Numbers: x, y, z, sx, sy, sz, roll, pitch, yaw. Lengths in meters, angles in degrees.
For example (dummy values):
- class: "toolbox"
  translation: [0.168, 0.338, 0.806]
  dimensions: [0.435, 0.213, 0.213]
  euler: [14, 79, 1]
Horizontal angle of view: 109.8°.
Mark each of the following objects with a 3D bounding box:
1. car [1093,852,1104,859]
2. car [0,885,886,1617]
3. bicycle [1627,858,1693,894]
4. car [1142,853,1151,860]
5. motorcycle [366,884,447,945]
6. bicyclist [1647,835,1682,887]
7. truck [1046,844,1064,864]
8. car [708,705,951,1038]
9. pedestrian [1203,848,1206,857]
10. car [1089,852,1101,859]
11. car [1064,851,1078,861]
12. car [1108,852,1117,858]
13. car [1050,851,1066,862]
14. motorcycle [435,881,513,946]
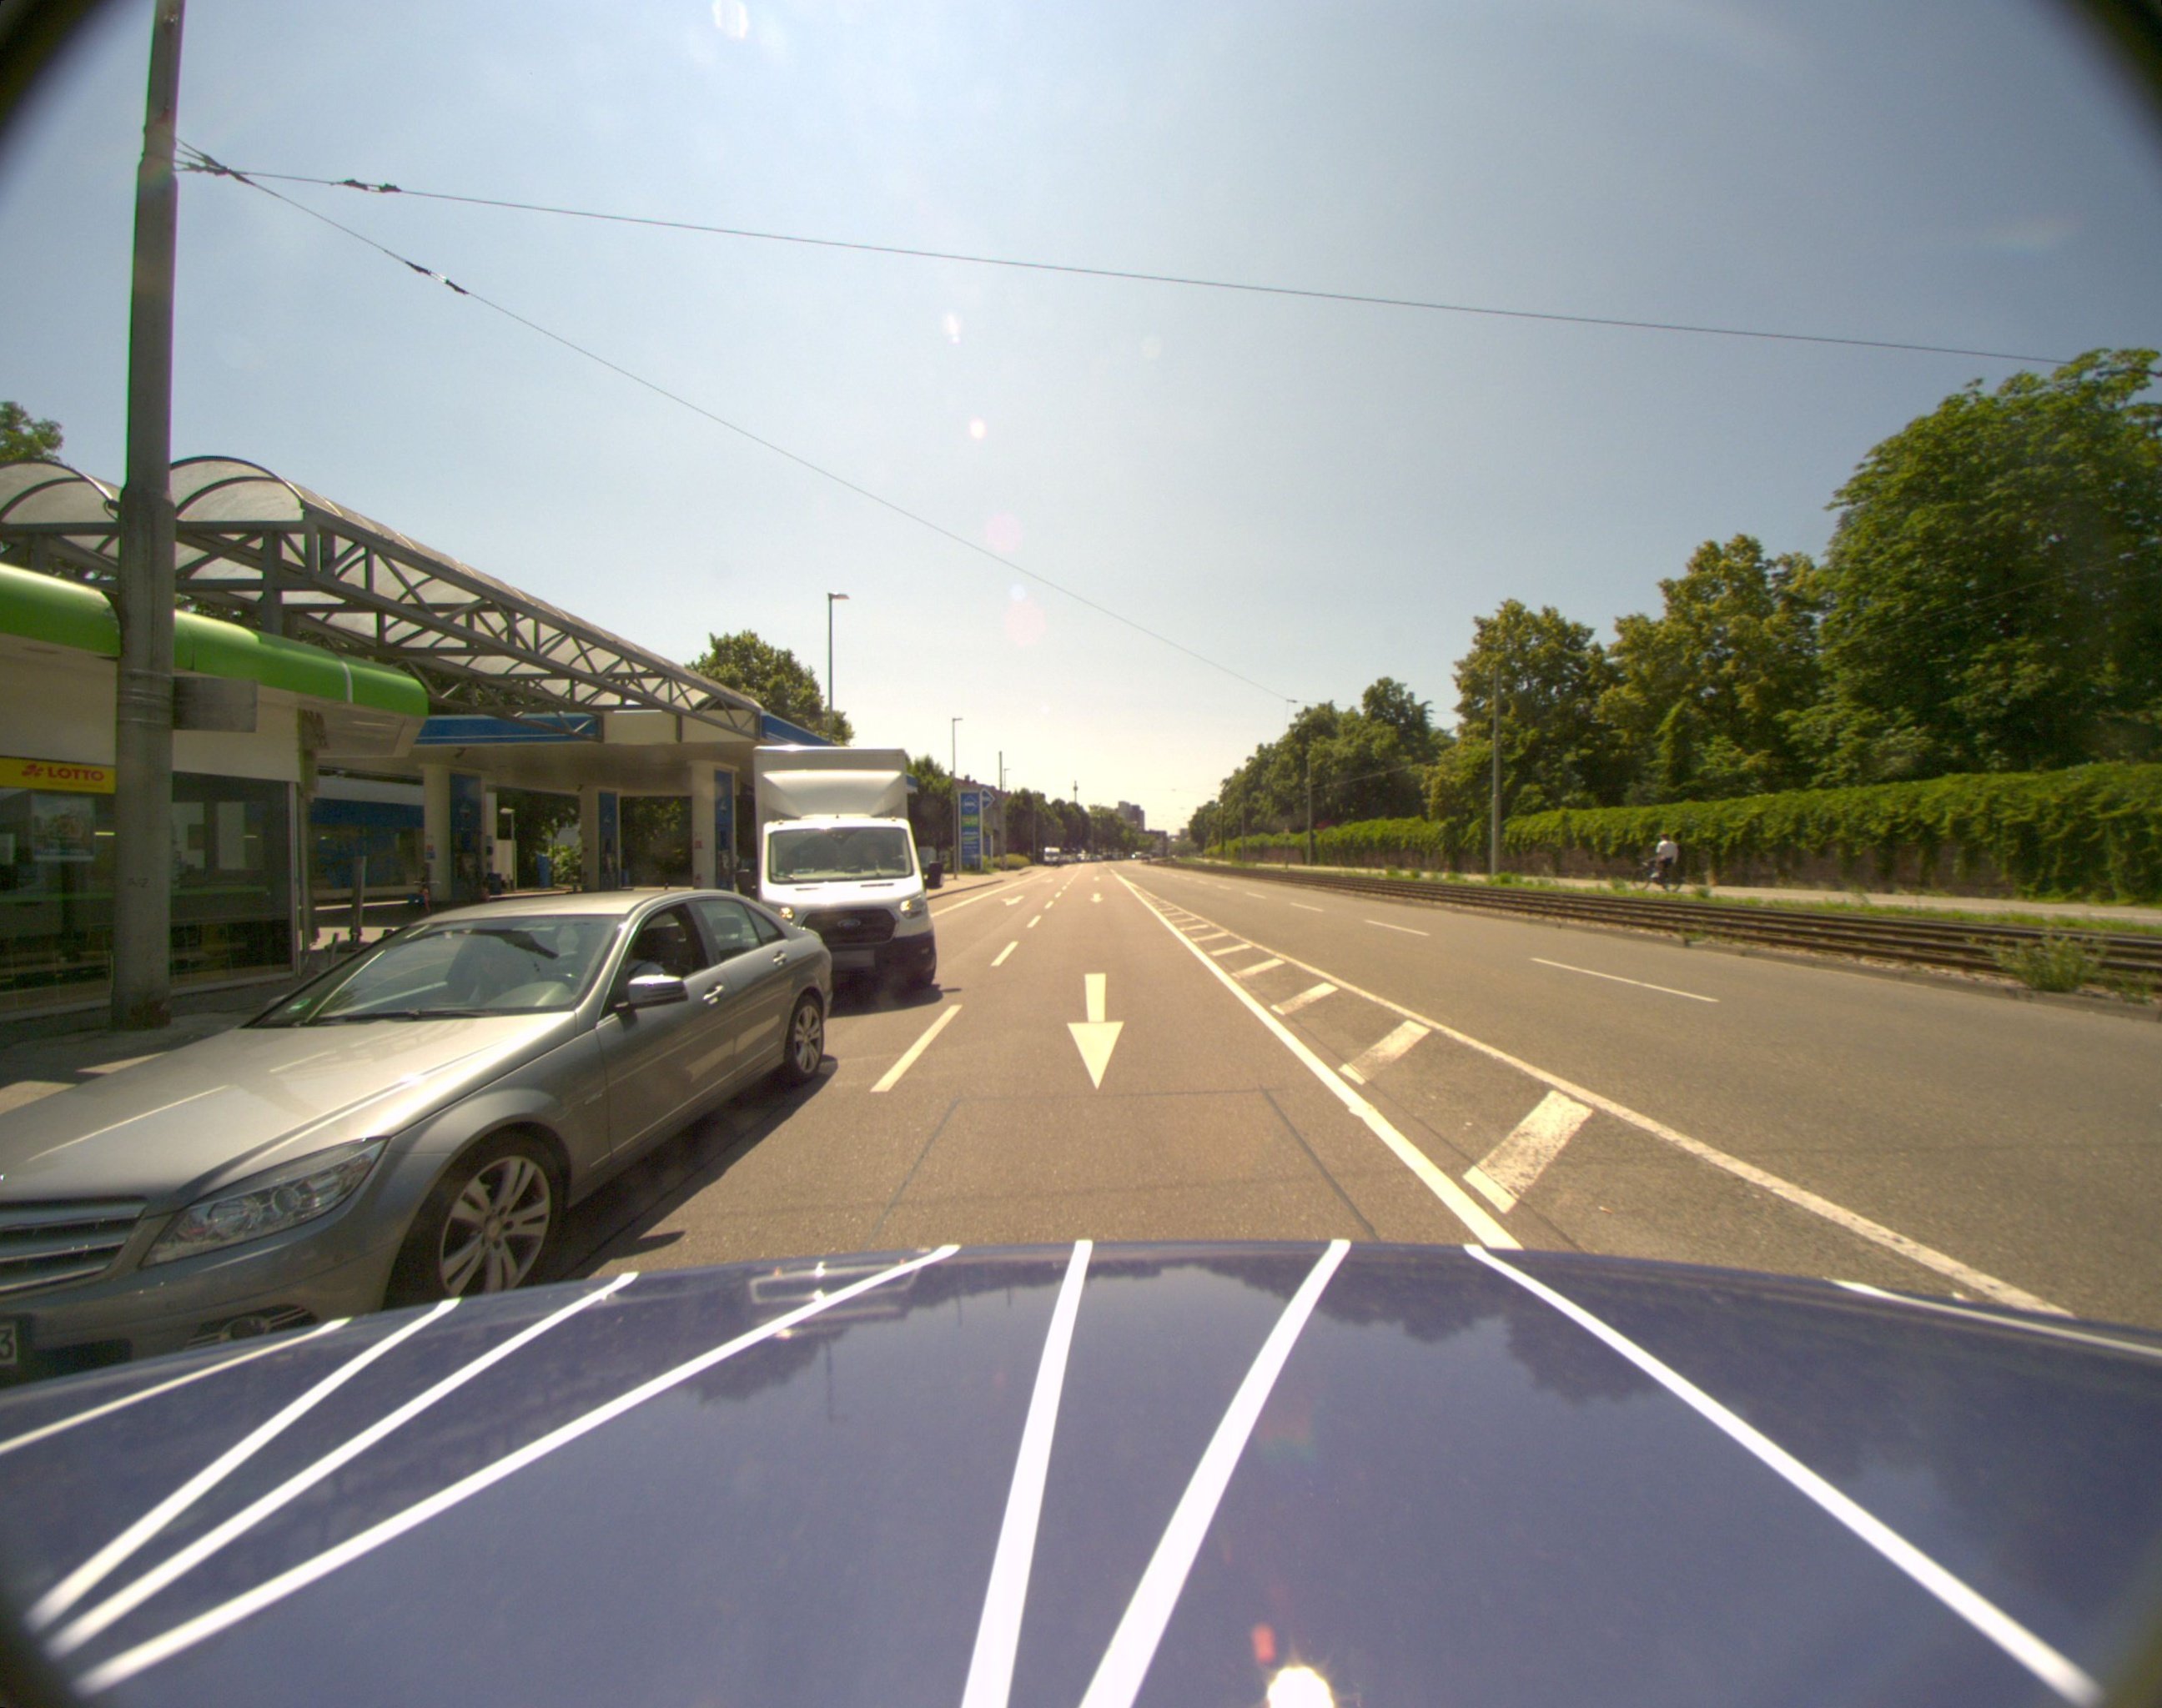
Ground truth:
- class: "car"
  translation: [4.077, 0.306, 176.914]
  dimensions: [1.911, 1.488, 4.002]
  euler: [-2, 1, 10]
- class: "car"
  translation: [-2.792, 1.055, 4.410]
  dimensions: [1.717, 1.464, 5.302]
  euler: [-3, 0, 2]
- class: "bicycle"
  translation: [18.326, 0.669, 24.102]
  dimensions: [0.617, 1.049, 1.978]
  euler: [-2, 1, 1]
- class: "car"
  translation: [16.208, 0.580, 187.497]
  dimensions: [1.800, 1.488, 3.966]
  euler: [-2, 0, 10]
- class: "motorcycle"
  translation: [-12.847, 1.142, 14.485]
  dimensions: [1.157, 1.107, 0.396]
  euler: [1, -1, -1]
- class: "bicyclist"
  translation: [18.289, 0.208, 23.826]
  dimensions: [0.483, 1.603, 0.769]
  euler: [-2, 1, 1]
- class: "truck"
  translation: [-3.453, -0.018, 101.586]
  dimensions: [1.998, 2.462, 5.237]
  euler: [-2, 1, 1]
- class: "car"
  translation: [-3.944, 0.156, 12.000]
  dimensions: [2.232, 3.316, 8.622]
  euler: [-3, 1, -19]
- class: "pedestrian"
  translation: [23.833, -0.328, 146.580]
  dimensions: [0.453, 1.655, 0.302]
  euler: [-2, 0, 1]
- class: "car"
  translation: [3.176, 0.395, 172.010]
  dimensions: [1.911, 1.488, 4.002]
  euler: [-2, 1, 10]
- class: "car"
  translation: [-1.659, 0.287, 126.598]
  dimensions: [1.912, 1.488, 4.001]
  euler: [-2, 1, 4]
- class: "car"
  translation: [8.375, 0.340, 203.269]
  dimensions: [1.911, 1.488, 4.002]
  euler: [-2, 1, 10]
- class: "car"
  translation: [-3.315, 0.296, 109.167]
  dimensions: [1.912, 1.488, 4.001]
  euler: [-2, 1, 4]
- class: "motorcycle"
  translation: [-11.579, 1.129, 14.500]
  dimensions: [1.157, 1.203, 0.364]
  euler: [1, -1, -1]
